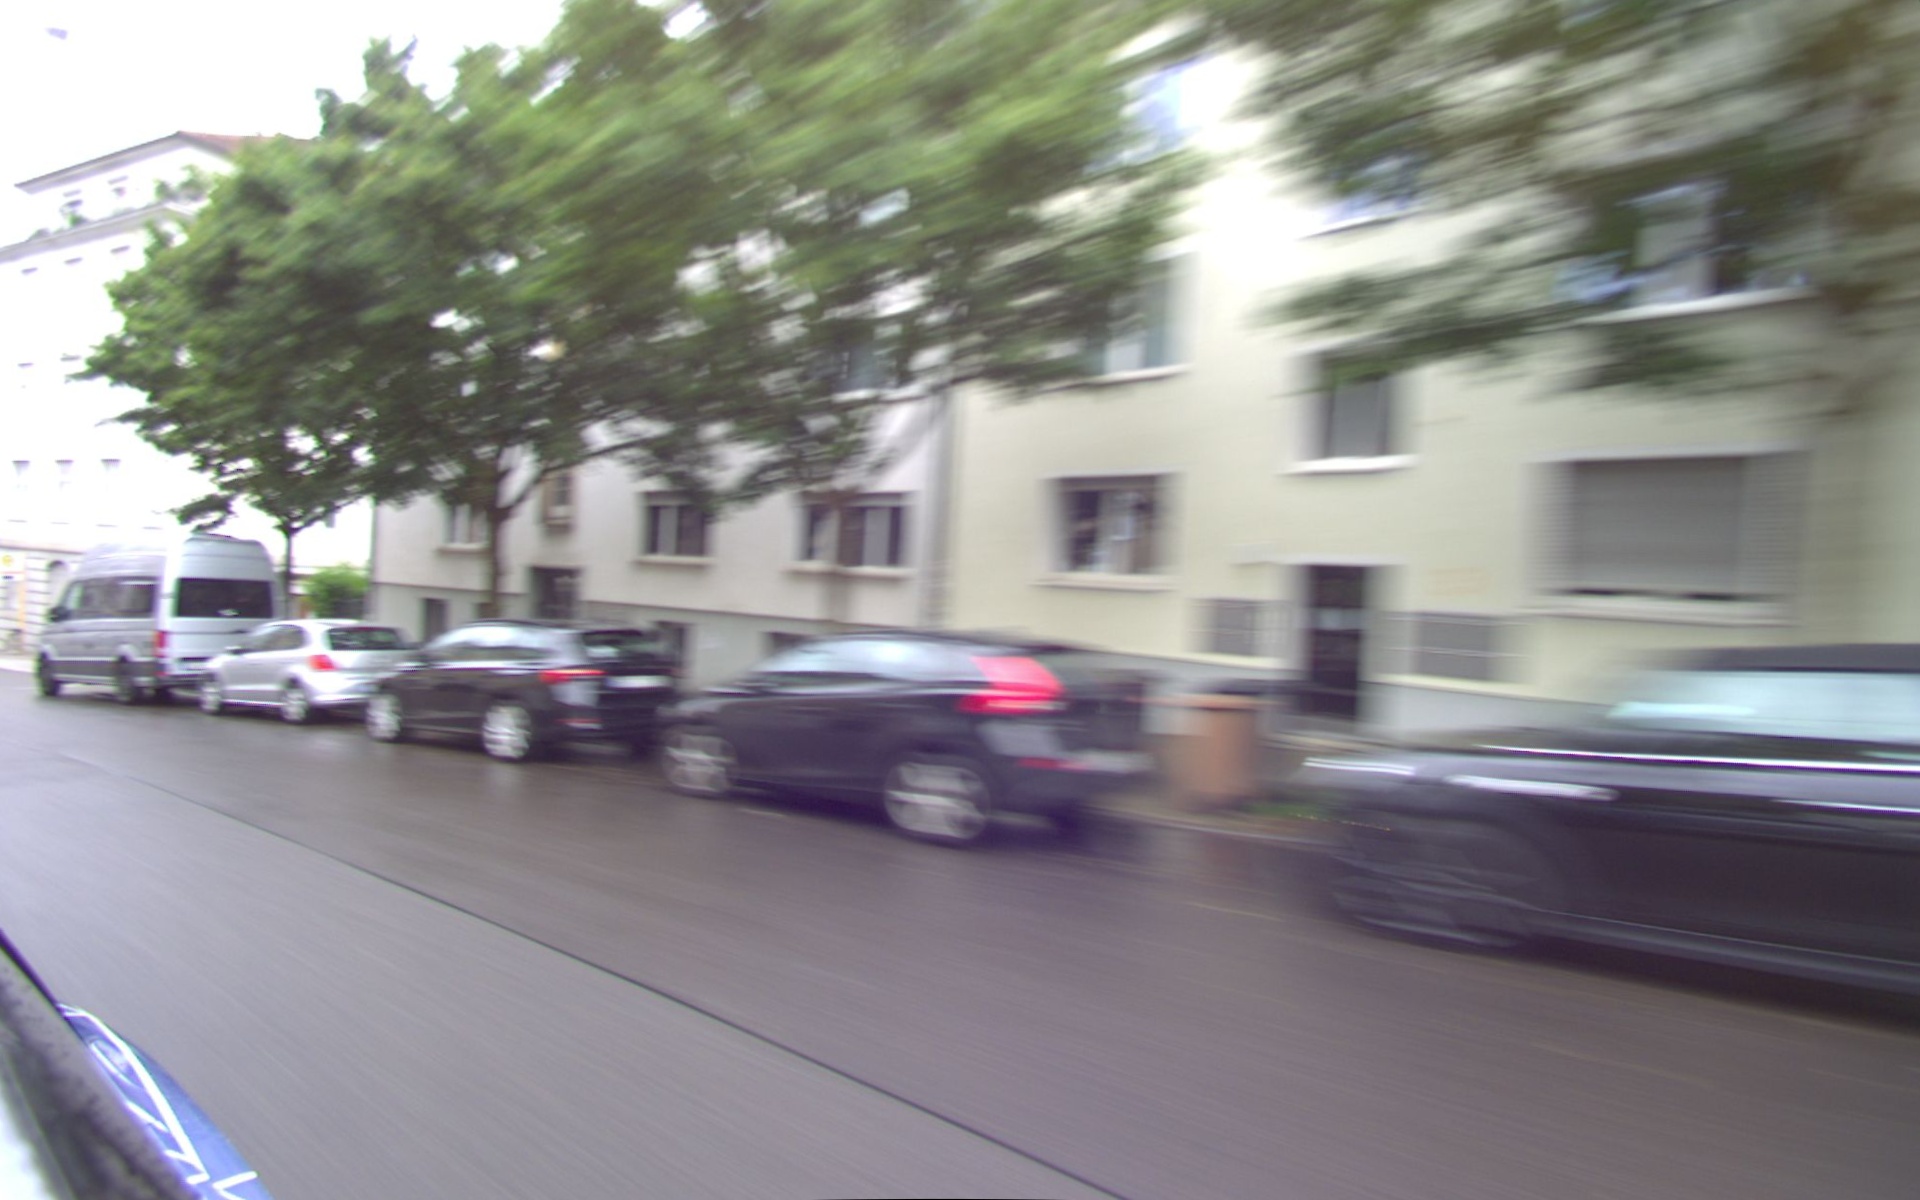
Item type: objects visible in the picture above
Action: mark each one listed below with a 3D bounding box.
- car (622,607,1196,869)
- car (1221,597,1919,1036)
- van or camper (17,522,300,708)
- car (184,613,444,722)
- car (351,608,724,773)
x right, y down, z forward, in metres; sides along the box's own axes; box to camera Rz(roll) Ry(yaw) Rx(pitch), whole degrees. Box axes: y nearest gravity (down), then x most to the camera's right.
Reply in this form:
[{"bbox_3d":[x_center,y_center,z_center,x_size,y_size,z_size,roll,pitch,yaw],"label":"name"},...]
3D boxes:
[{"bbox_3d":[-0.649,0.826,8.026,4.642,1.504,1.768,-1,-1,41],"label":"car"},{"bbox_3d":[3.558,0.772,4.442,4.359,1.504,1.768,-1,-2,41],"label":"car"},{"bbox_3d":[-14.417,0.302,18.104,5.727,2.881,2.051,-1,-3,32],"label":"van or camper"},{"bbox_3d":[-9.589,0.923,14.956,4.031,1.420,1.575,-1,-2,31],"label":"car"},{"bbox_3d":[-4.834,0.893,11.327,4.490,1.504,1.771,-1,-3,36],"label":"car"}]
